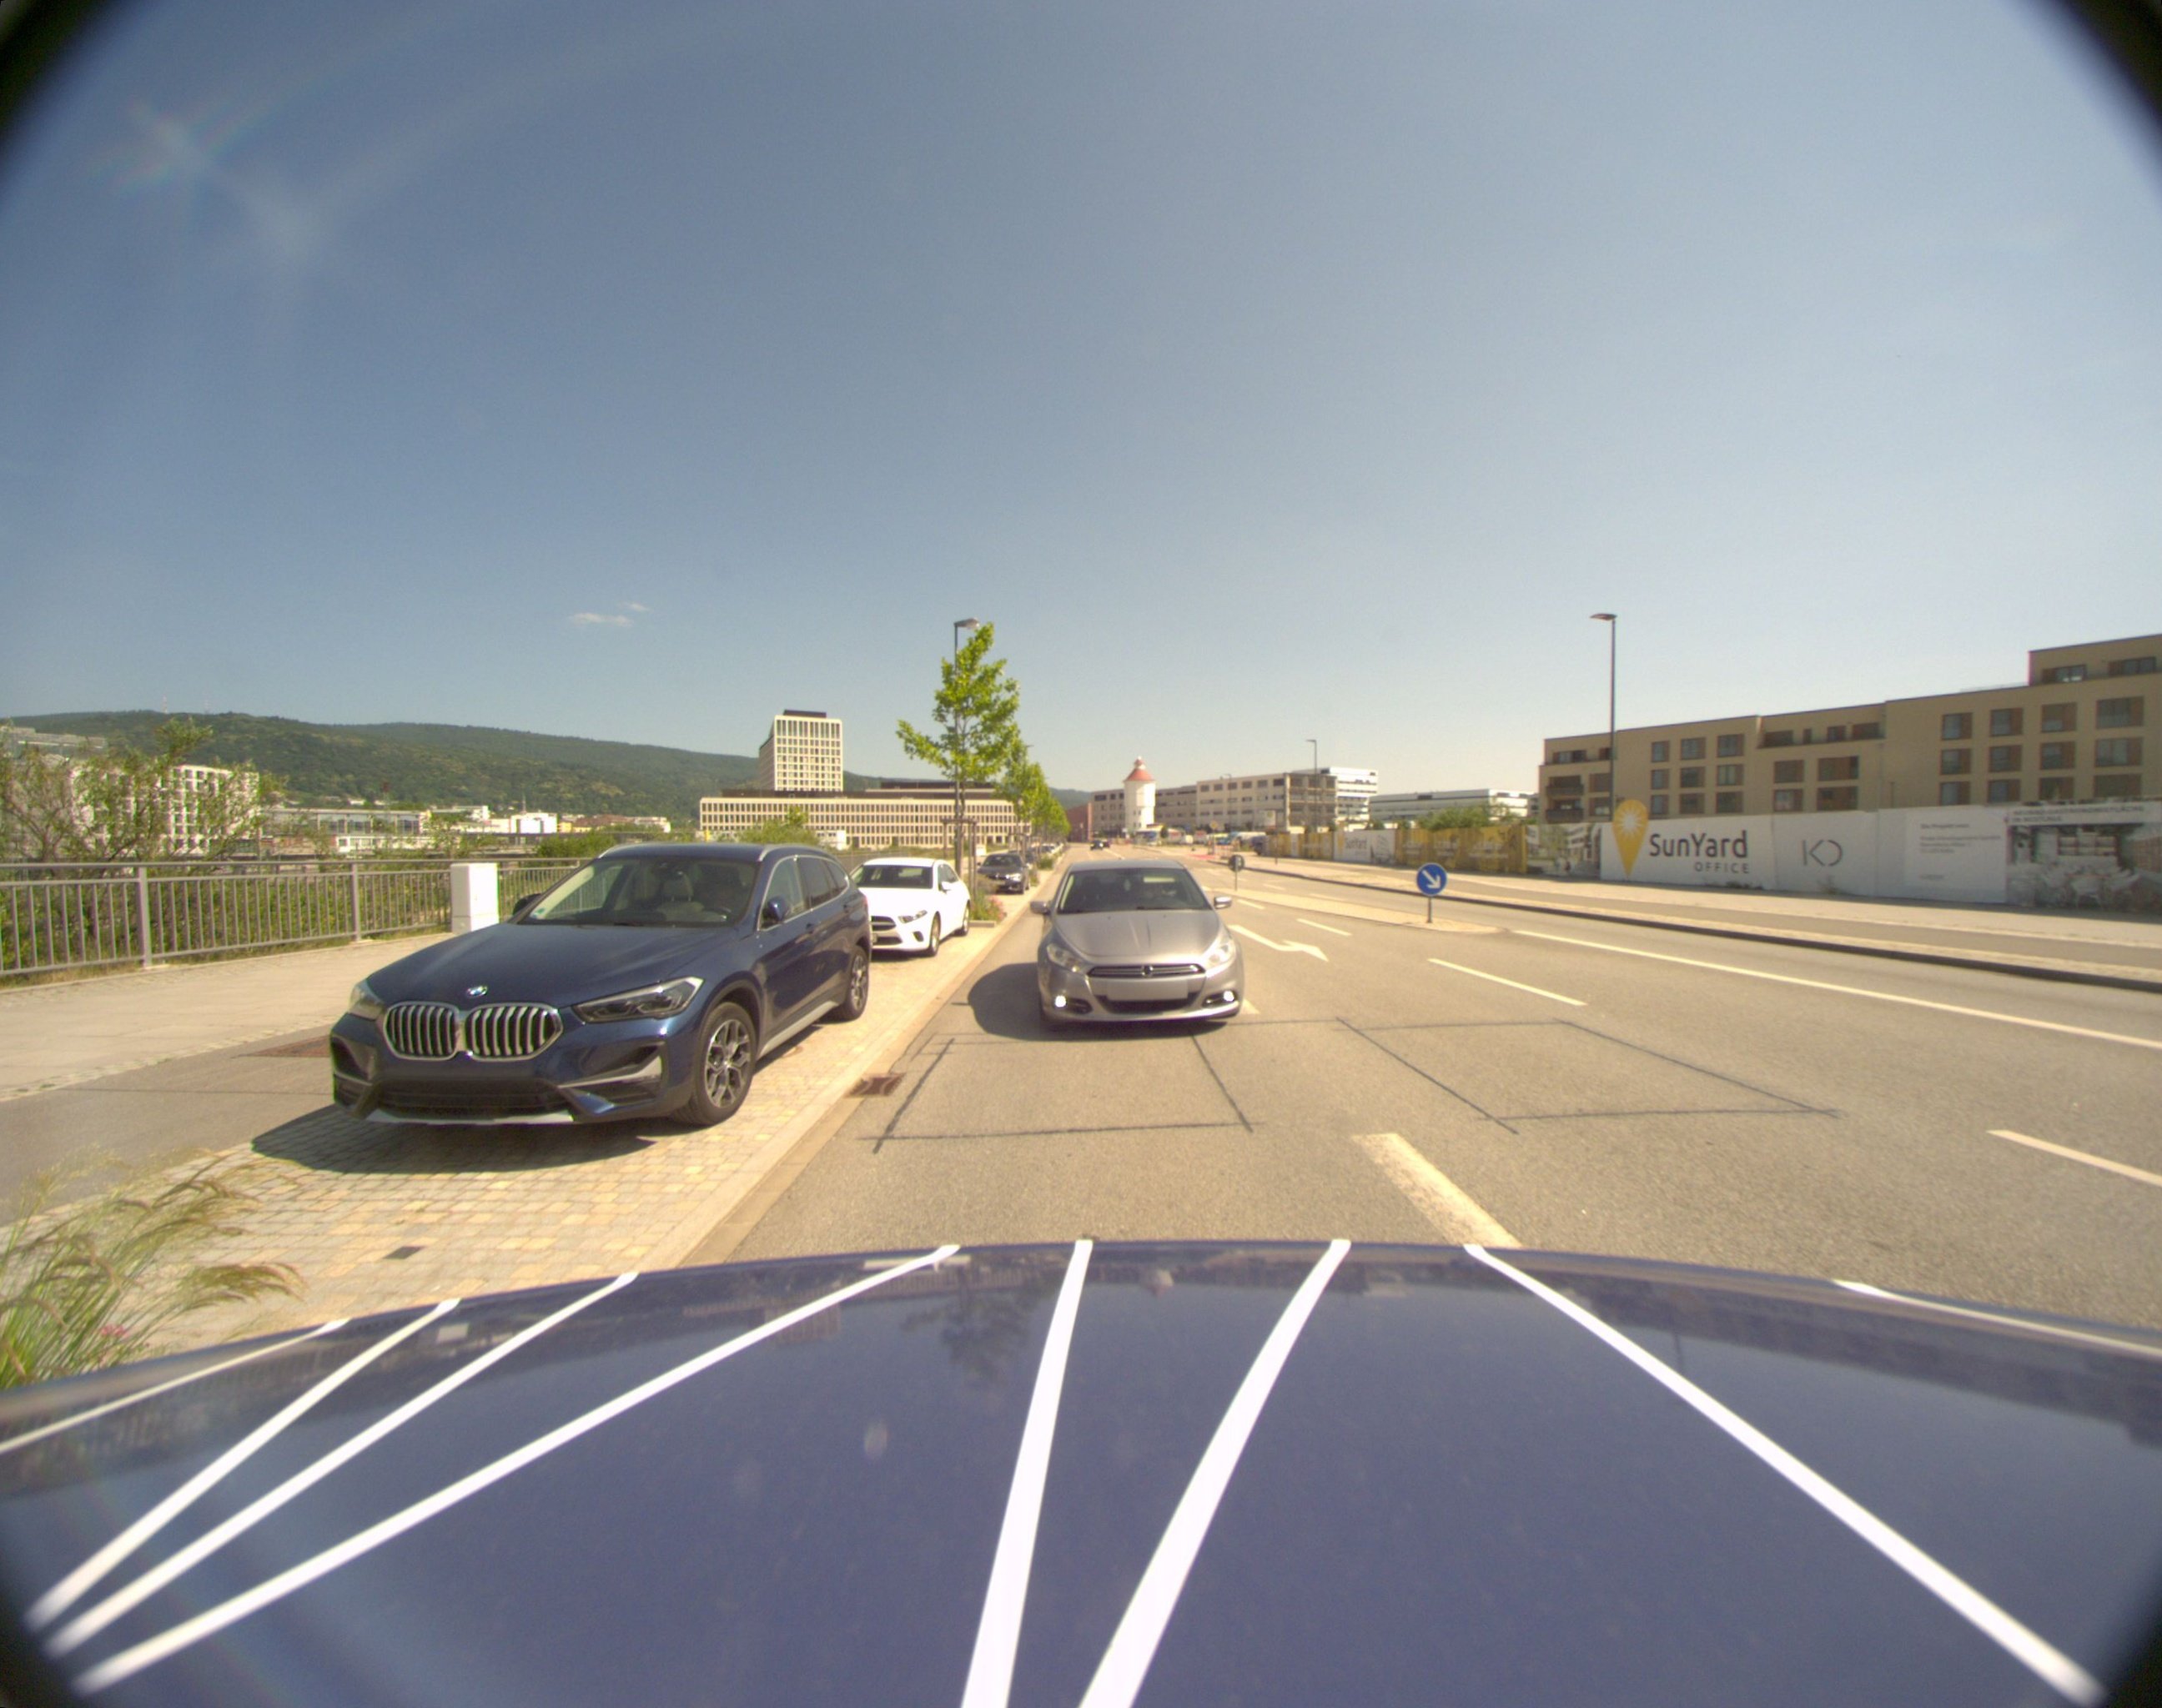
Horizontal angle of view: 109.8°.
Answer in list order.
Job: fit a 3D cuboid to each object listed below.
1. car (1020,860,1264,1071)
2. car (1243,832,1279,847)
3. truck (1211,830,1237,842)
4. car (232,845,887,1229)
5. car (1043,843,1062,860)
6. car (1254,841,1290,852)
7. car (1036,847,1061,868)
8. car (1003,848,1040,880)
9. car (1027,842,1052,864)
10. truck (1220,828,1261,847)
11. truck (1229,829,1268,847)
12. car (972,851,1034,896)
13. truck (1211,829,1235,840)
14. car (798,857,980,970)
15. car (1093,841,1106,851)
[{"bbox_3d":[0.502,0.871,7.964,1.820,1.458,4.346,-2,1,1],"label":"car"},{"bbox_3d":[22.847,-1.871,96.569,3.930,1.708,1.891,-3,1,-5],"label":"car"},{"bbox_3d":[33.363,-4.186,177.338,5.333,2.461,1.999,-3,1,-4],"label":"truck"},{"bbox_3d":[-2.875,0.800,5.538,1.808,1.674,4.270,1,1,0],"label":"car"},{"bbox_3d":[-2.654,-0.287,70.778,1.526,1.482,3.504,-3,1,0],"label":"car"},{"bbox_3d":[19.627,-0.748,77.959,3.359,0.947,1.293,-2,1,3],"label":"car"},{"bbox_3d":[-2.163,0.228,50.655,1.490,1.302,3.154,2,1,0],"label":"car"},{"bbox_3d":[-2.918,0.472,37.955,1.569,1.465,3.006,2,1,0],"label":"car"},{"bbox_3d":[-3.298,-0.090,61.222,1.768,1.609,3.373,-3,1,0],"label":"car"},{"bbox_3d":[23.753,-2.467,113.405,5.633,2.461,1.999,-3,1,-4],"label":"truck"},{"bbox_3d":[23.330,-2.259,105.952,5.005,2.215,1.999,-2,1,-1],"label":"truck"},{"bbox_3d":[-2.792,0.658,27.877,1.808,1.424,3.915,2,1,0],"label":"car"},{"bbox_3d":[34.577,-4.676,185.376,5.412,2.461,1.999,-2,1,-2],"label":"truck"},{"bbox_3d":[-2.900,0.814,12.452,1.710,1.366,4.270,2,1,2],"label":"car"},{"bbox_3d":[2.835,-1.218,116.539,1.819,1.458,4.347,-3,1,2],"label":"car"}]
